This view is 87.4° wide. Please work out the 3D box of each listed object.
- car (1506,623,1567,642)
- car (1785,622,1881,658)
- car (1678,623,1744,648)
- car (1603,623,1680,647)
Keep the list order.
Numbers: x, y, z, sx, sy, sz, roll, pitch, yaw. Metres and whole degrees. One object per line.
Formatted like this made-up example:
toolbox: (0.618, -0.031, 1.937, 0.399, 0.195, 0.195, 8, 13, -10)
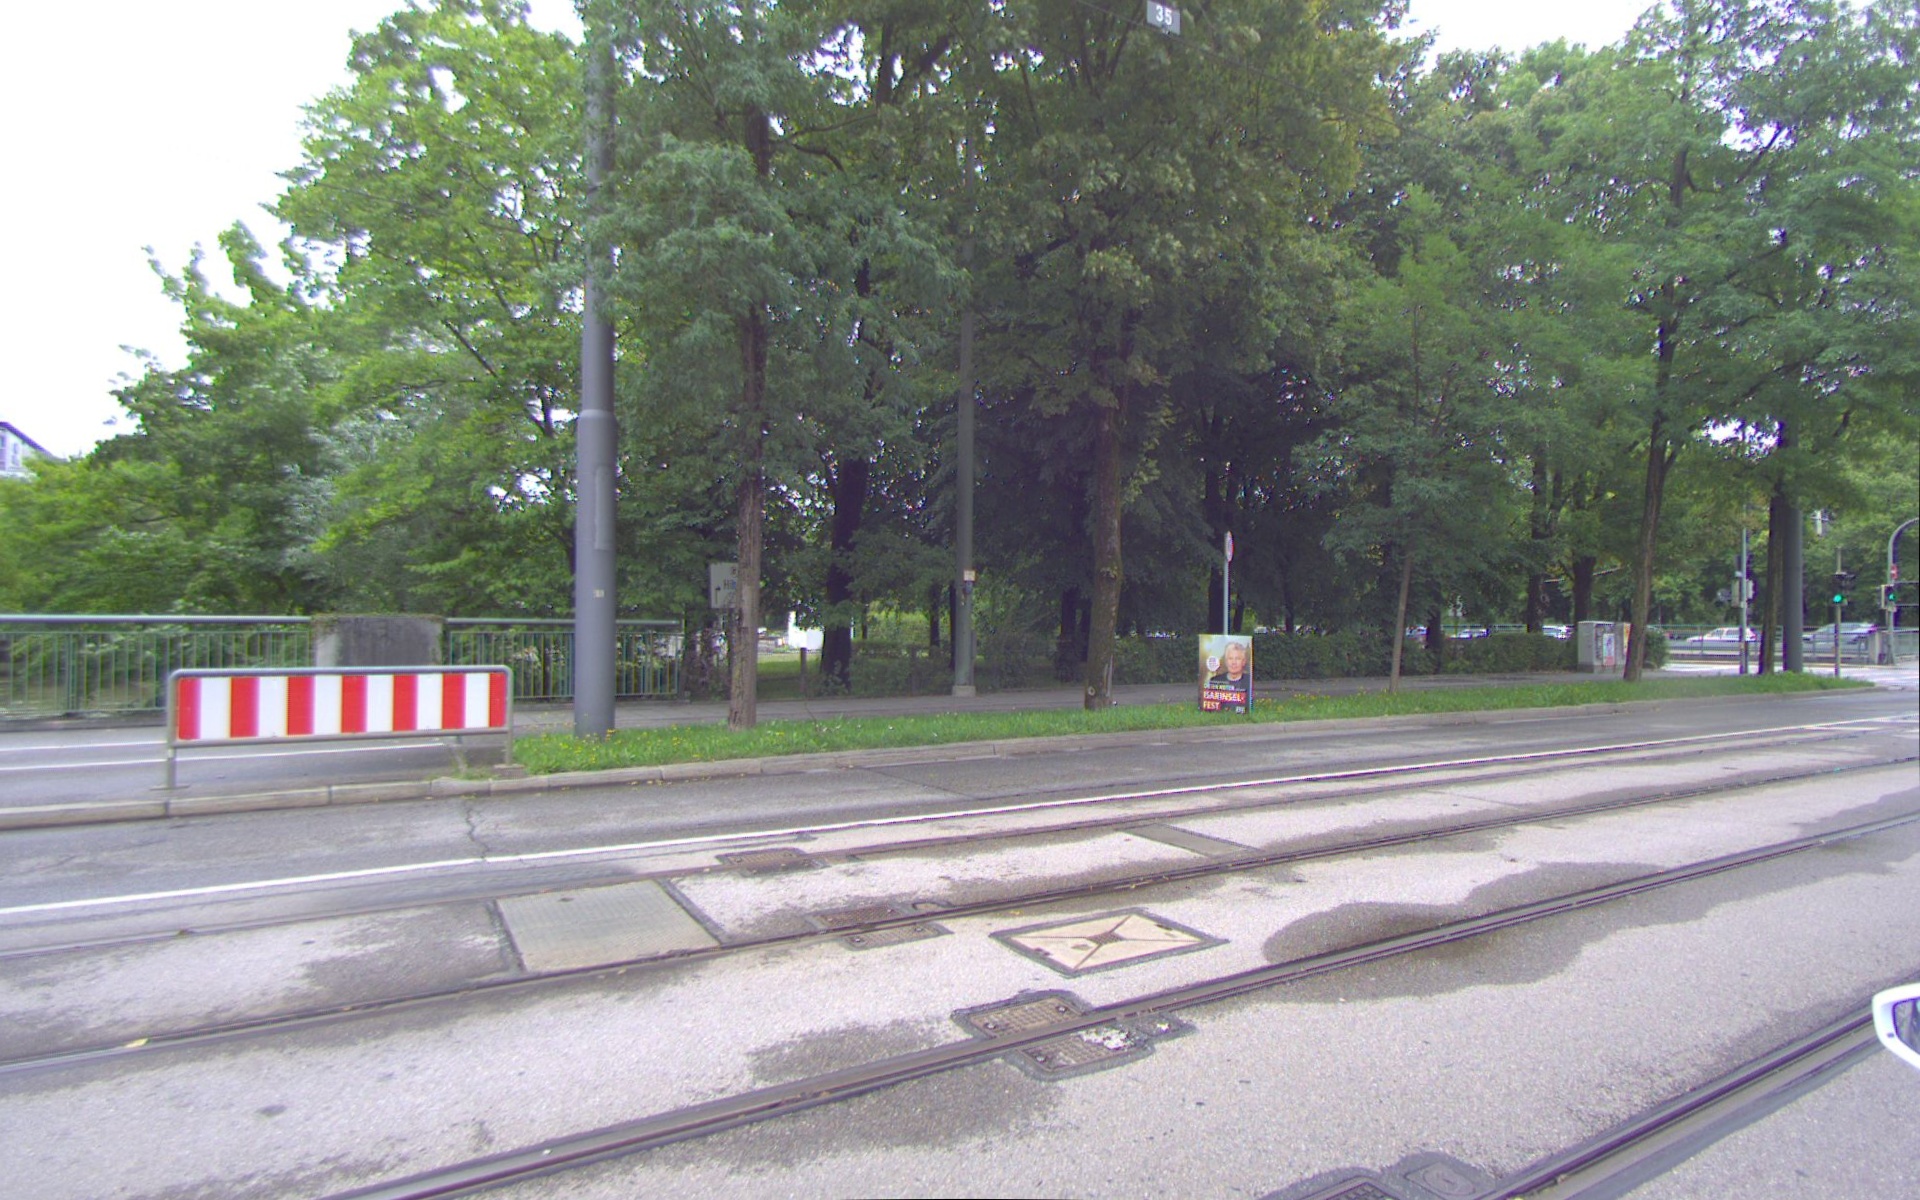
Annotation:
car: (41.945, 2.345, 73.141, 1.238, 1.201, 3.704, 2, 0, -34)
car: (51.211, 2.323, 59.004, 1.476, 1.912, 3.994, 1, 0, -36)
car: (47.773, 2.253, 63.953, 1.238, 1.471, 3.090, 2, 0, -34)
car: (45.659, 2.331, 67.353, 1.703, 1.423, 3.900, 2, 0, -34)
